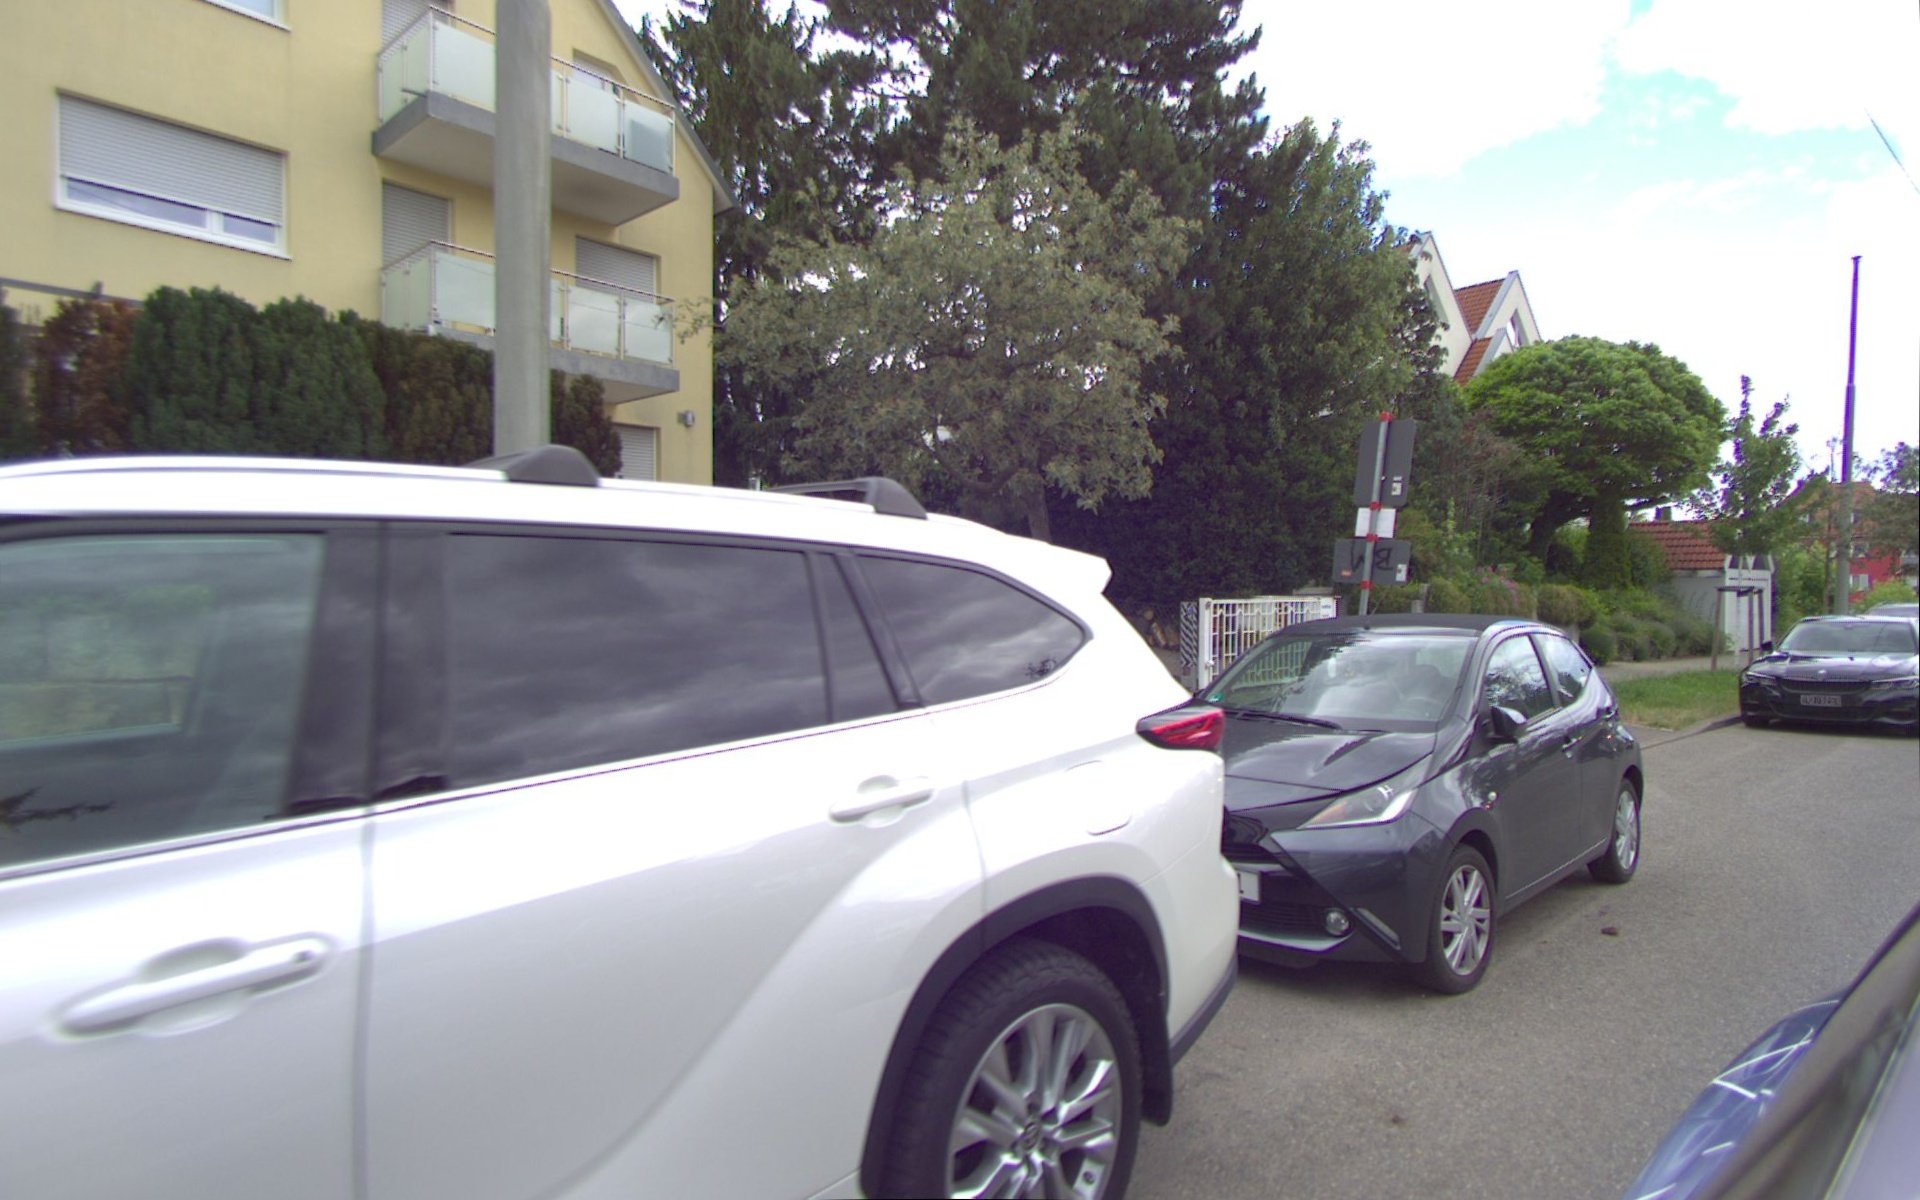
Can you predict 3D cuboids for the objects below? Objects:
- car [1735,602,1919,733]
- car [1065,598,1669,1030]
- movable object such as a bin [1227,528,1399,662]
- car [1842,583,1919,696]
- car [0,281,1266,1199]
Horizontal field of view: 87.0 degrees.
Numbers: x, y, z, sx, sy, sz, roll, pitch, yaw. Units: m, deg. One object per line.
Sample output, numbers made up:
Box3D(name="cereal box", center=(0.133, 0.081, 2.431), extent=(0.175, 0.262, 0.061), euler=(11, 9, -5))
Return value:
Box3D(name="car", center=(12.037, 0.768, 13.421), extent=(4.469, 1.475, 1.833), euler=(0, -1, -40))
Box3D(name="car", center=(2.262, 0.729, 5.193), extent=(3.447, 1.461, 1.559), euler=(0, -1, -43))
Box3D(name="movable object such as a bin", center=(5.799, -0.061, 16.723), extent=(1.321, 2.039, 2.312), euler=(0, -1, -43))
Box3D(name="car", center=(16.656, 0.622, 17.114), extent=(4.466, 1.733, 1.835), euler=(0, 1, -38))
Box3D(name="car", center=(-1.491, 0.579, 1.794), extent=(4.625, 1.801, 1.801), euler=(0, -1, -43))
